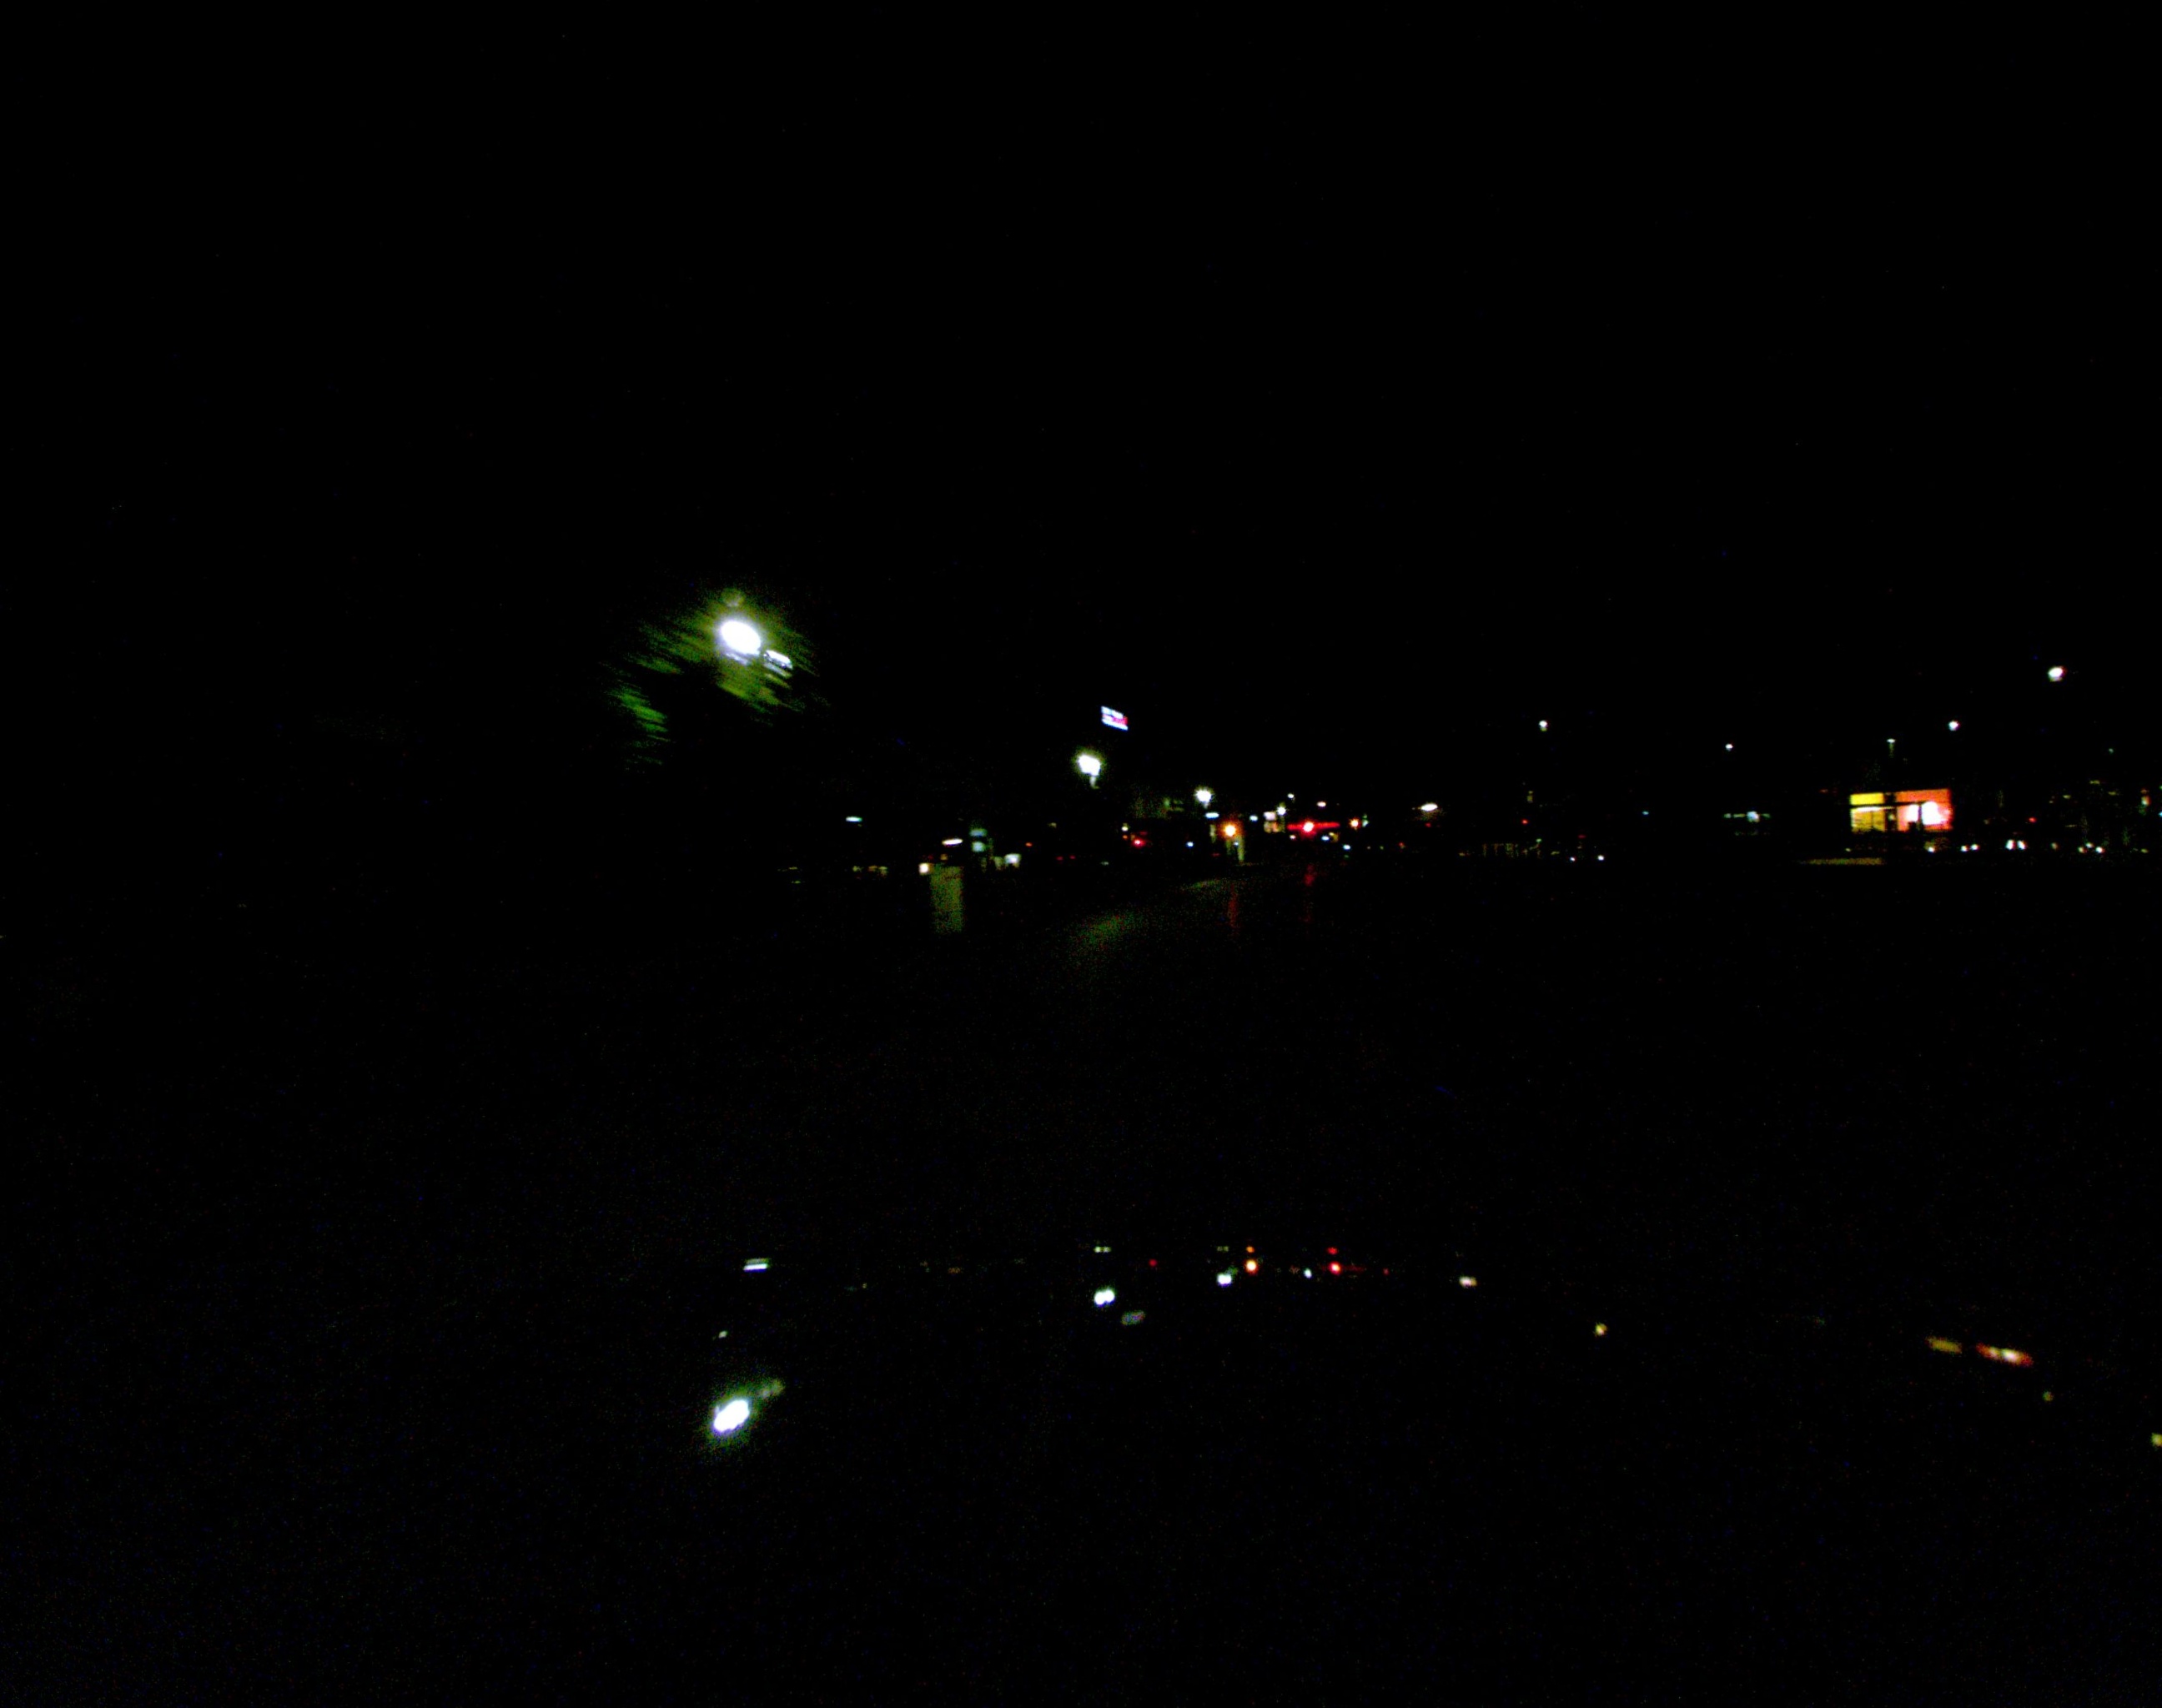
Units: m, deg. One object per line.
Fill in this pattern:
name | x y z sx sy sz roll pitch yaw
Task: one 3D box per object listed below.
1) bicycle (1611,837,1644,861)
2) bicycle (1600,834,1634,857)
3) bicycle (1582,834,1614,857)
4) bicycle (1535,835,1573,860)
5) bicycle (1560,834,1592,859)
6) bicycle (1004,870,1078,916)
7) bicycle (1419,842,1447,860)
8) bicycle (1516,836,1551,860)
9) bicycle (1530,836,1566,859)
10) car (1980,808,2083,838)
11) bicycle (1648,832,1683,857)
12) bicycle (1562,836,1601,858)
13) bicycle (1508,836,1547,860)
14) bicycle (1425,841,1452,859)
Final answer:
bicycle | 27.301 -0.230 37.994 0.608 1.159 1.748 -2 0 8
bicycle | 26.543 -0.427 37.646 0.608 1.094 1.748 -2 0 8
bicycle | 25.712 -0.411 37.813 0.608 1.118 1.748 -2 0 8
bicycle | 23.070 -0.307 37.080 0.609 1.159 1.746 -2 0 -6
bicycle | 24.067 -0.348 36.970 0.608 1.159 1.748 -2 0 9
bicycle | -0.993 0.977 19.189 1.753 1.056 0.655 -3 0 1
bicycle | 22.976 -0.204 49.642 1.617 1.099 0.671 -3 2 26
bicycle | 22.499 -0.282 37.830 0.545 1.148 1.746 -2 0 -6
bicycle | 23.552 -0.318 38.367 0.609 1.159 1.746 -2 0 -6
car | 69.872 -2.253 55.977 4.406 1.925 1.964 -2 0 41
bicycle | 29.233 -0.466 38.032 0.608 1.211 1.748 -2 0 8
bicycle | 24.858 -0.324 37.770 0.609 1.063 1.746 -2 0 -10
bicycle | 21.853 -0.275 37.231 0.761 1.155 1.746 -2 0 -6
bicycle | 24.171 -0.283 51.351 1.617 1.099 0.671 -3 2 26
